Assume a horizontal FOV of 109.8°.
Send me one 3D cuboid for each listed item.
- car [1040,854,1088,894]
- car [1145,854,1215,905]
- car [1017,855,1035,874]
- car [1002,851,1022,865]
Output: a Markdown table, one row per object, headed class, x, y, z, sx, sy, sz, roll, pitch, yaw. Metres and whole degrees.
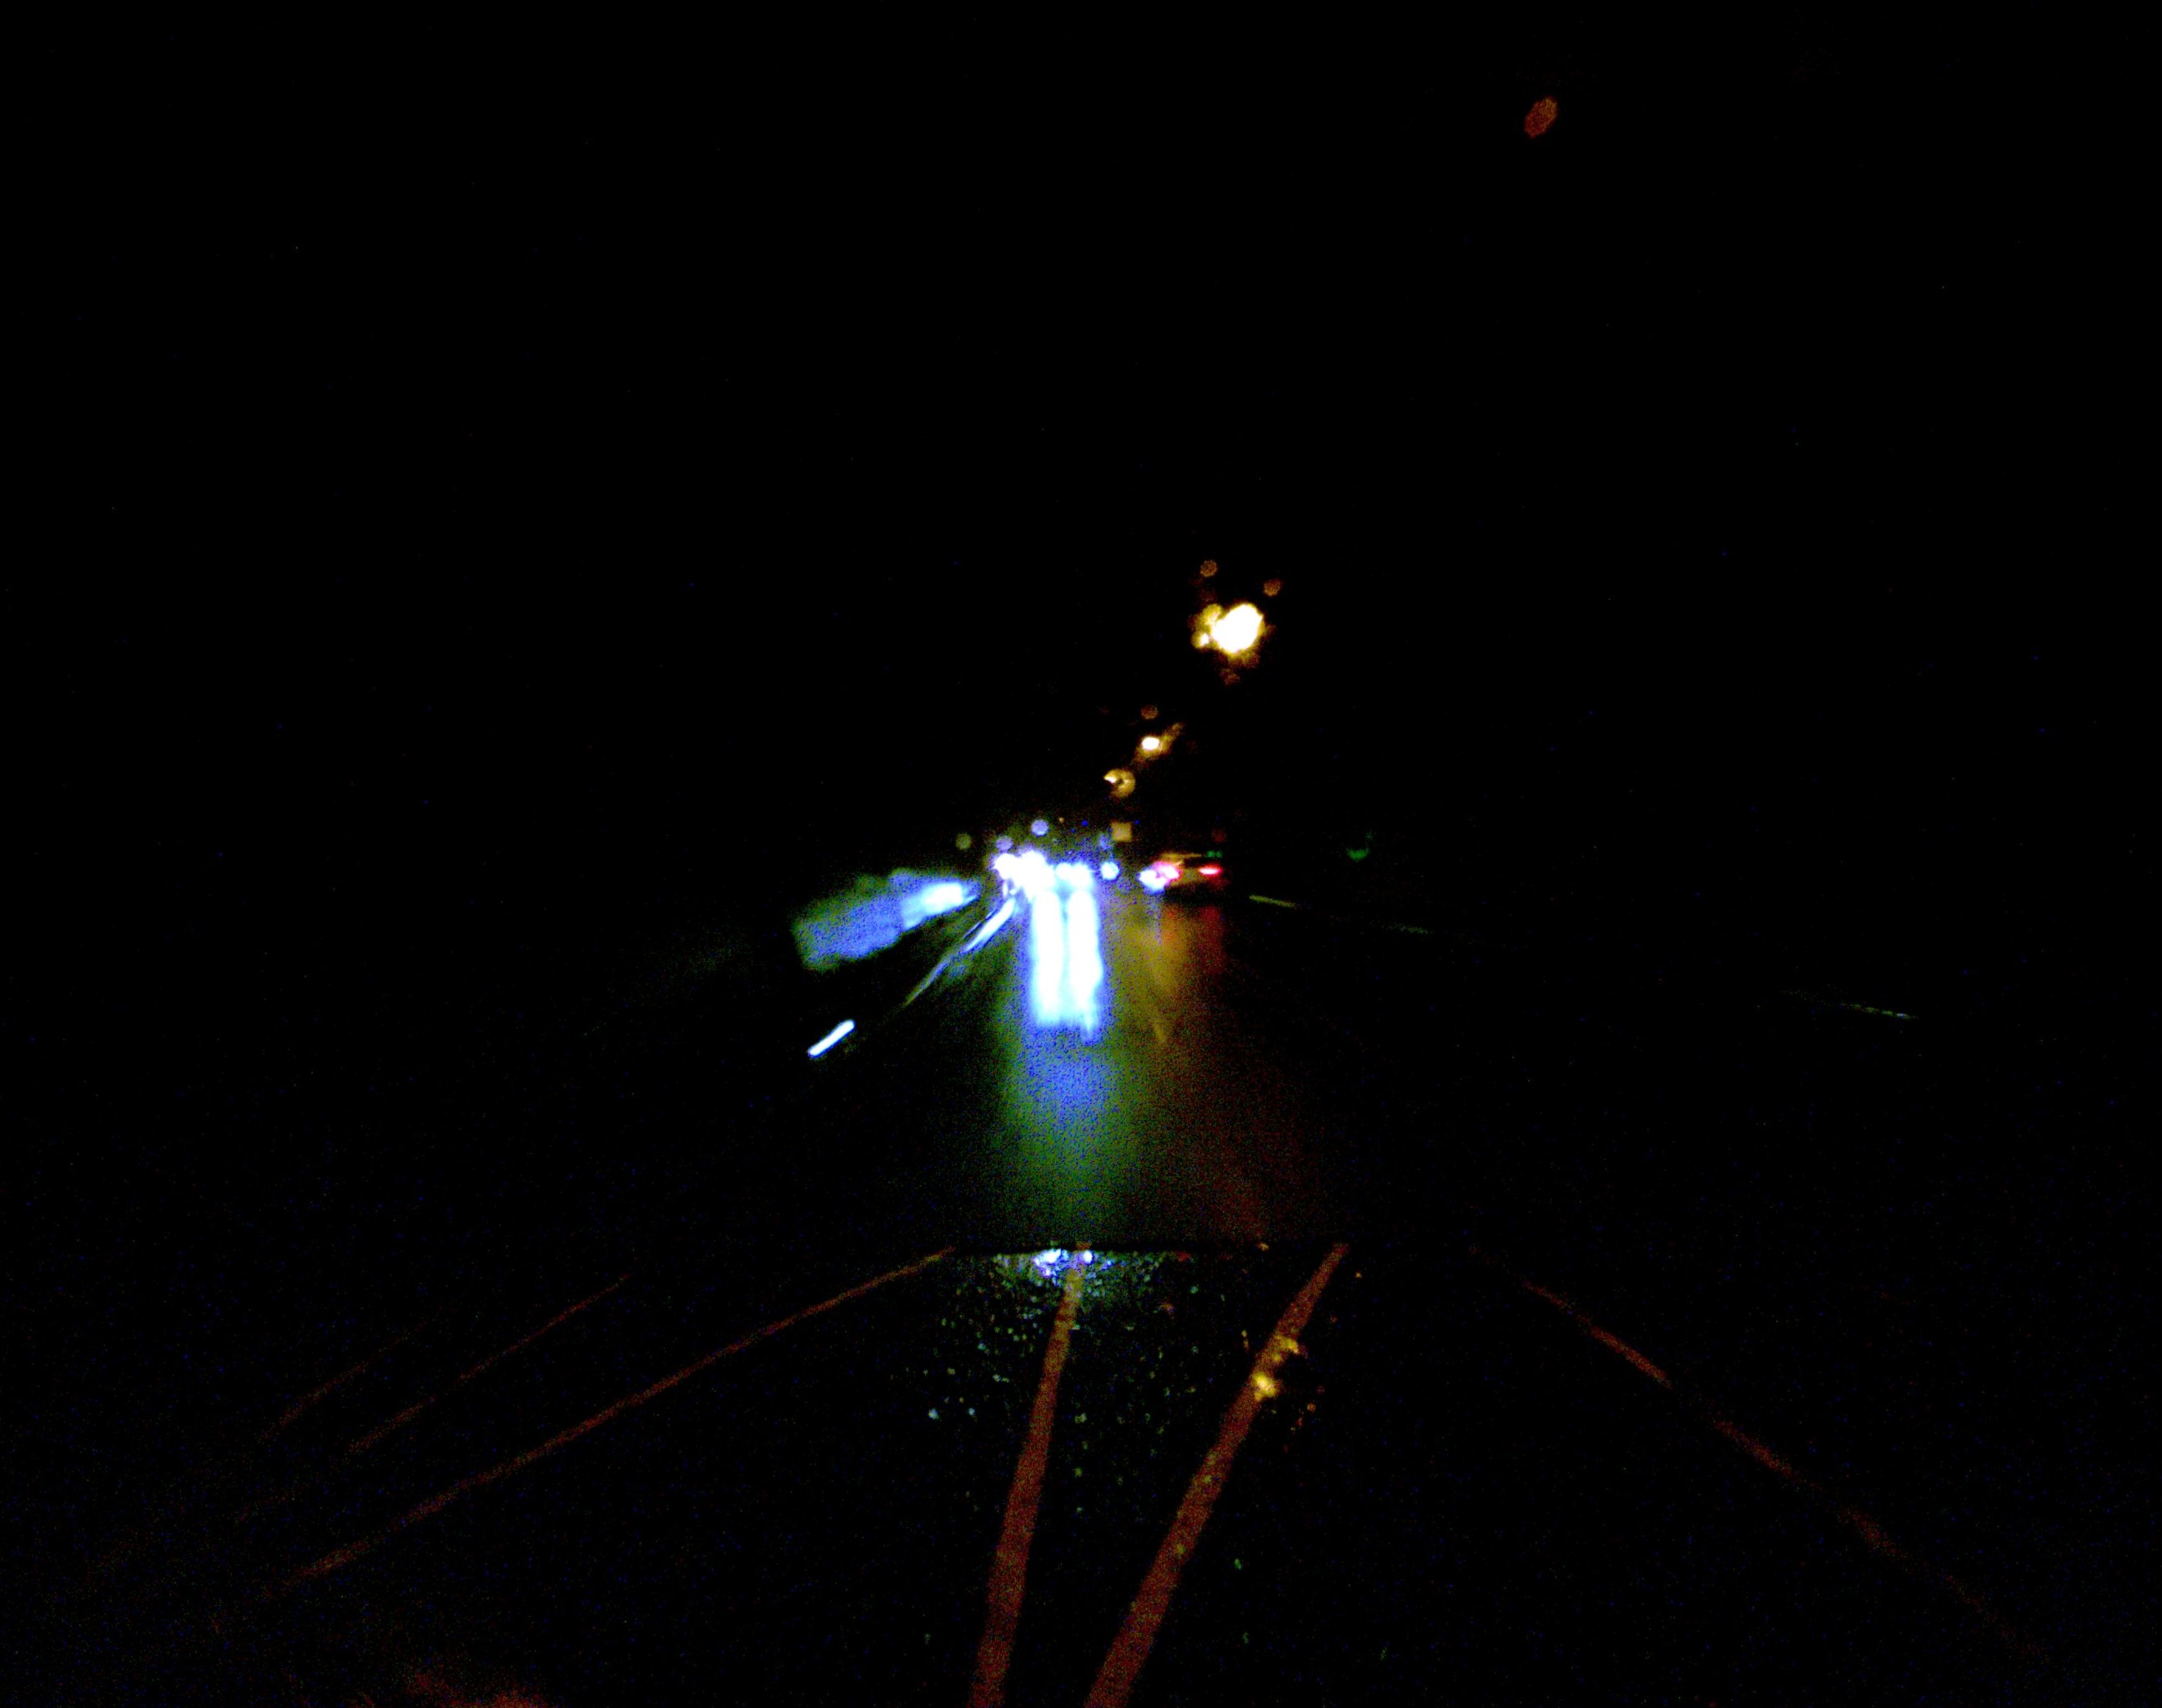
| class | x | y | z | sx | sy | sz | roll | pitch | yaw |
| --- | --- | --- | --- | --- | --- | --- | --- | --- | --- |
| car | -0.833 | 0.854 | 34.210 | 1.999 | 1.585 | 4.607 | -1 | 1 | -3 |
| car | 3.150 | 0.778 | 24.924 | 1.713 | 1.501 | 4.078 | -1 | 0 | -1 |
| car | -6.161 | 1.117 | 84.274 | 1.900 | 2.002 | 3.997 | 0 | 1 | -6 |
| car | -9.546 | 0.523 | 104.917 | 1.711 | 1.761 | 3.993 | 0 | 1 | -19 |
